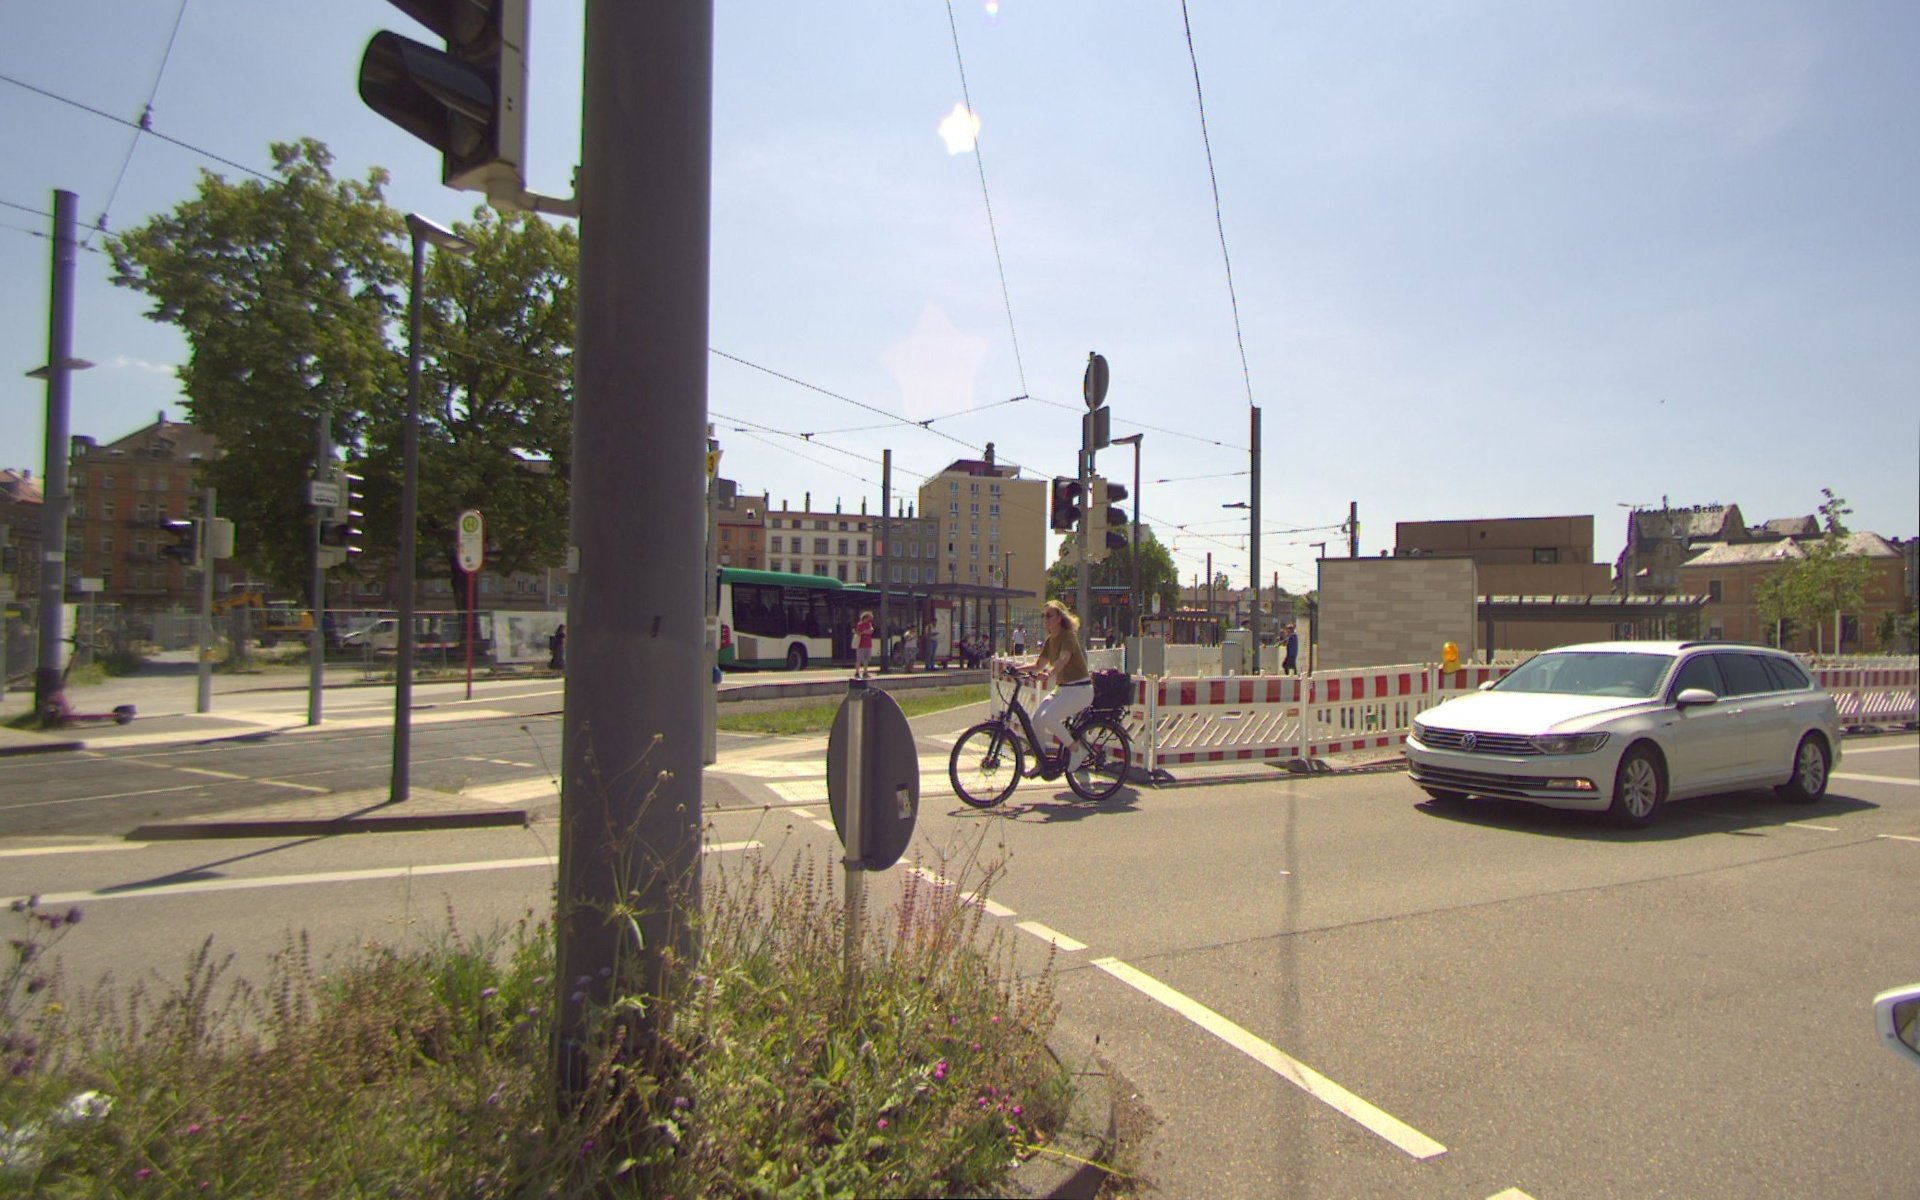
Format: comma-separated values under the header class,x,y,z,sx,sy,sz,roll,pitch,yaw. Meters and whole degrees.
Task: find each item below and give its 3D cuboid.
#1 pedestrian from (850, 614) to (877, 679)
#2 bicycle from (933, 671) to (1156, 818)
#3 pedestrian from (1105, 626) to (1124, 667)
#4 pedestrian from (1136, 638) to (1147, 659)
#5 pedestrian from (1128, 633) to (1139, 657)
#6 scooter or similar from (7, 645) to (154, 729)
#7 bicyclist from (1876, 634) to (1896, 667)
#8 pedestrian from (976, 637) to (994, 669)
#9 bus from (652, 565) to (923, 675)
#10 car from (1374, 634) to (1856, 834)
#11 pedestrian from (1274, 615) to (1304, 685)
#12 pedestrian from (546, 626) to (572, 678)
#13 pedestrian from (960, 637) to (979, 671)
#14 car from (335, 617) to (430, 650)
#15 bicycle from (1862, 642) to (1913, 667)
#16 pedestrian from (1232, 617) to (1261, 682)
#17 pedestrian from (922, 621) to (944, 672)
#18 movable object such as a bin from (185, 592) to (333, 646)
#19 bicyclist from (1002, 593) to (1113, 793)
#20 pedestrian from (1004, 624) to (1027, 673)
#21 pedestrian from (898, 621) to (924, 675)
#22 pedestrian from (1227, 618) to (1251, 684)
class,x,y,z,sx,sy,sz,roll,pitch,yaw
pedestrian,-2.622,1.254,27.387,0.569,1.724,0.566,2,0,10
bicycle,0.769,1.218,8.874,1.986,1.165,0.585,2,-4,-30
pedestrian,7.258,2.187,47.148,0.637,1.883,0.615,2,-1,-33
pedestrian,12.137,3.246,67.148,0.552,1.416,0.440,2,0,-33
pedestrian,10.309,2.690,59.673,0.500,1.384,0.524,2,0,26
scooter or similar,-11.852,1.154,13.575,1.432,1.075,0.337,2,0,-32
bicyclist,45.049,2.455,48.870,0.521,1.600,0.498,2,-3,-9
pedestrian,0.896,1.910,36.285,0.505,1.137,0.429,2,0,25
bus,-5.276,0.639,33.698,2.804,3.094,10.583,2,0,30
car,6.037,1.077,9.178,4.372,1.447,1.809,2,-4,-28
pedestrian,9.235,1.393,28.199,0.680,1.931,0.576,2,0,28
pedestrian,-12.336,1.583,30.911,0.540,1.562,0.481,2,0,10
pedestrian,0.326,1.893,35.382,0.505,1.137,0.429,2,0,25
car,-31.176,1.813,54.264,4.212,1.623,1.761,2,0,-41
bicycle,45.033,2.655,48.772,0.515,1.196,1.896,2,-3,-9
pedestrian,8.152,1.388,28.557,0.634,1.812,0.637,2,0,28
pedestrian,-0.885,1.517,33.039,0.527,1.642,0.520,2,0,25
movable object such as a bin,-46.954,1.311,67.482,7.902,3.434,2.878,2,0,-37
bicyclist,0.861,0.809,8.948,0.789,1.687,0.583,2,-4,-30
pedestrian,2.212,1.924,39.874,0.686,1.882,0.606,2,0,25
pedestrian,-1.556,1.506,31.981,0.615,1.677,0.546,2,0,25
pedestrian,7.696,1.389,27.705,0.530,1.779,0.659,2,0,19
